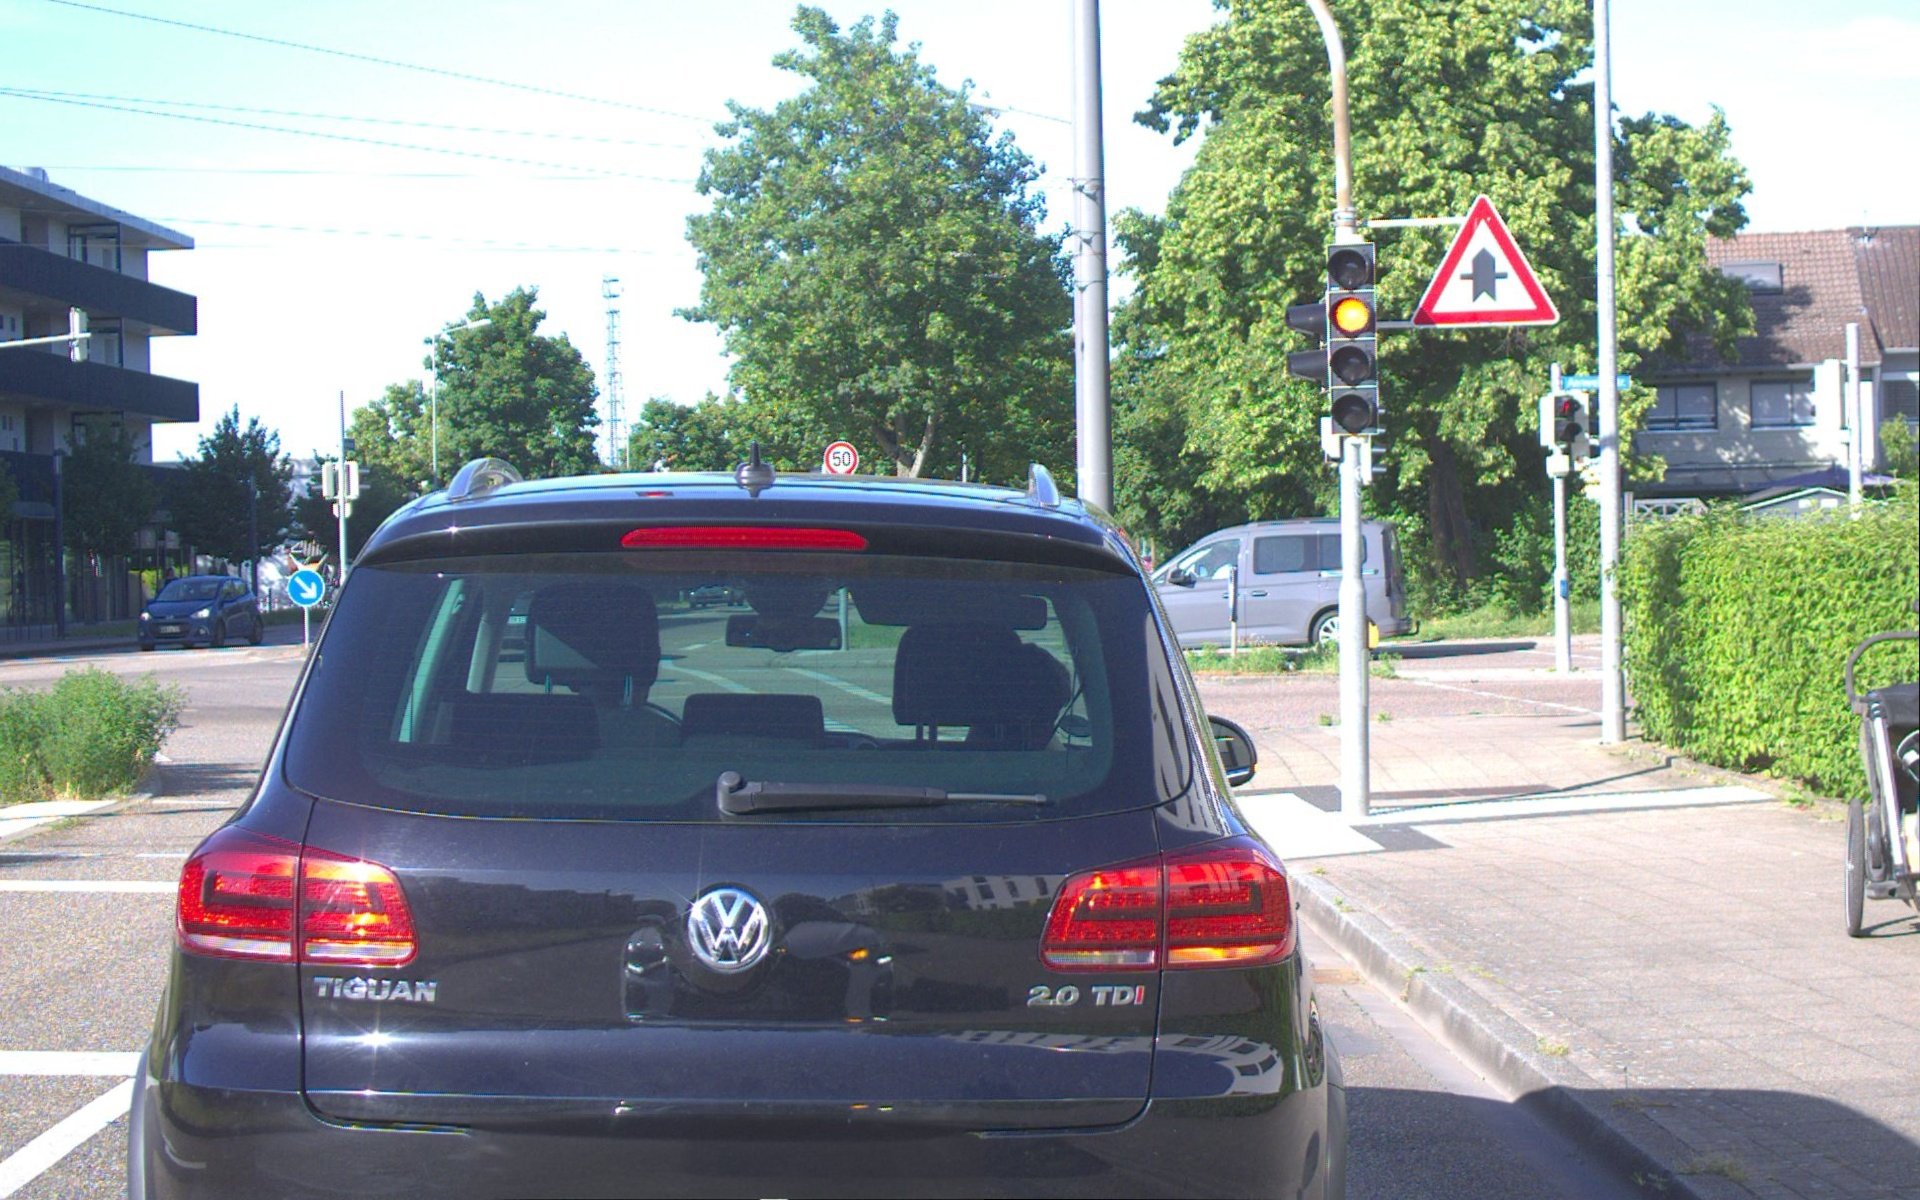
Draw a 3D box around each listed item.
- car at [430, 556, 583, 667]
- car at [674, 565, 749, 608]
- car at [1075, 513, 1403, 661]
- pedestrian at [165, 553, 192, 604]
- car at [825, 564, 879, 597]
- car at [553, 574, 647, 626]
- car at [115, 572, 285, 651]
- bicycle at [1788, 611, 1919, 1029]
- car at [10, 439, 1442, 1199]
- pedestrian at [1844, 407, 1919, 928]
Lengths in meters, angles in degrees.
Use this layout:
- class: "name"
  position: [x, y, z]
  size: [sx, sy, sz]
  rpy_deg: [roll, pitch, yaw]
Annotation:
- class: "car"
  position: [-7.189, 0.157, 54.844]
  size: [1.993, 1.678, 4.000]
  rpy_deg: [1, 1, -1]
- class: "car"
  position: [-9.378, -0.524, 129.988]
  size: [1.994, 1.569, 4.338]
  rpy_deg: [1, 1, 7]
- class: "car"
  position: [3.657, -0.184, 44.713]
  size: [3.989, 1.830, 1.999]
  rpy_deg: [1, 0, 13]
- class: "pedestrian"
  position: [-23.384, -0.646, 102.891]
  size: [0.642, 1.504, 0.596]
  rpy_deg: [1, 0, 0]
- class: "car"
  position: [-5.240, -0.944, 167.467]
  size: [1.994, 1.569, 4.338]
  rpy_deg: [1, 1, 7]
- class: "car"
  position: [-11.241, -0.012, 107.674]
  size: [1.994, 1.569, 4.338]
  rpy_deg: [1, 1, 7]
- class: "car"
  position: [-15.779, 0.206, 71.582]
  size: [1.994, 1.569, 4.337]
  rpy_deg: [1, 1, 9]
- class: "bicycle"
  position: [3.391, 0.651, 11.179]
  size: [0.929, 1.169, 3.125]
  rpy_deg: [-1, 1, 6]
- class: "car"
  position: [-0.334, 0.597, 6.523]
  size: [1.869, 1.632, 4.000]
  rpy_deg: [1, 1, -1]
- class: "pedestrian"
  position: [3.340, 0.189, 10.867]
  size: [0.911, 1.588, 0.854]
  rpy_deg: [-1, 1, 7]
